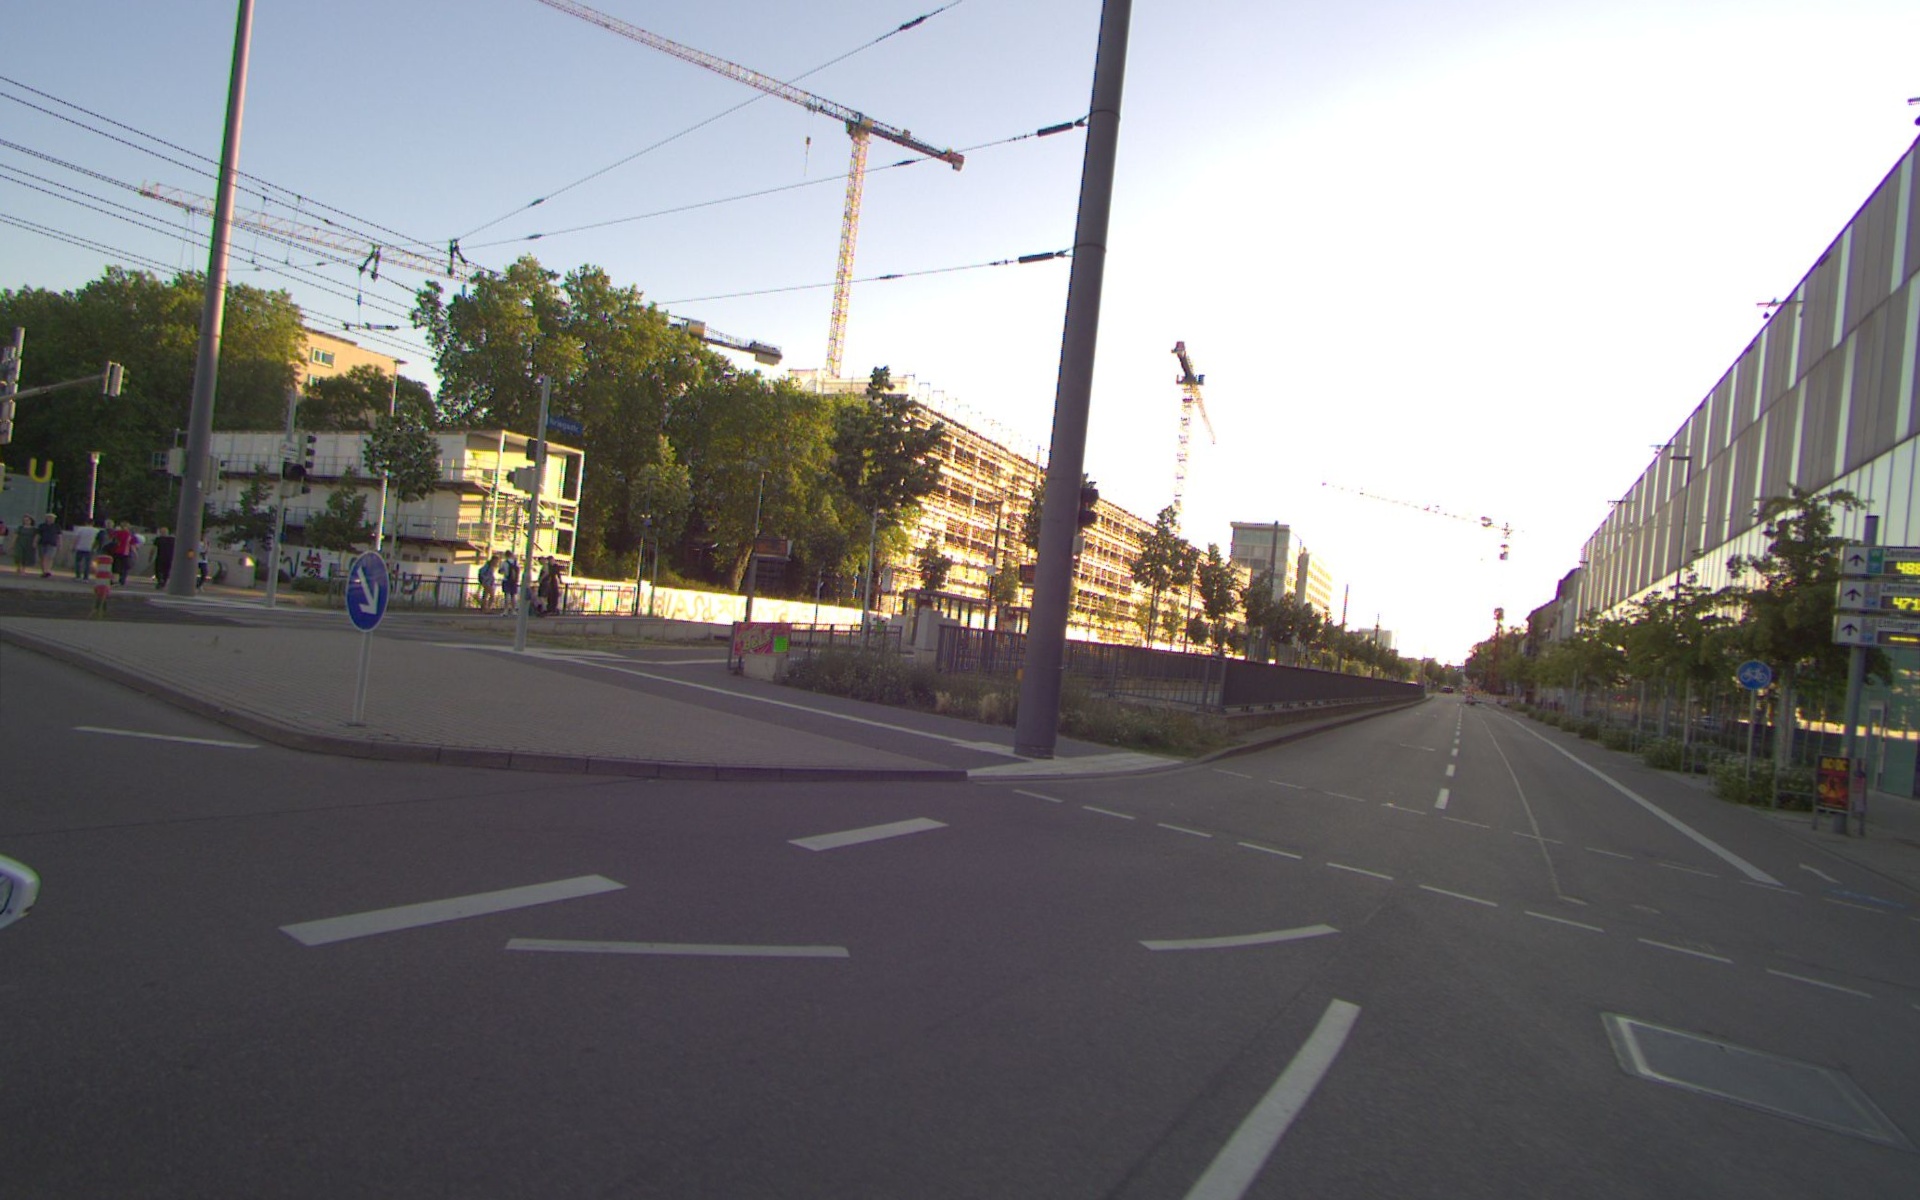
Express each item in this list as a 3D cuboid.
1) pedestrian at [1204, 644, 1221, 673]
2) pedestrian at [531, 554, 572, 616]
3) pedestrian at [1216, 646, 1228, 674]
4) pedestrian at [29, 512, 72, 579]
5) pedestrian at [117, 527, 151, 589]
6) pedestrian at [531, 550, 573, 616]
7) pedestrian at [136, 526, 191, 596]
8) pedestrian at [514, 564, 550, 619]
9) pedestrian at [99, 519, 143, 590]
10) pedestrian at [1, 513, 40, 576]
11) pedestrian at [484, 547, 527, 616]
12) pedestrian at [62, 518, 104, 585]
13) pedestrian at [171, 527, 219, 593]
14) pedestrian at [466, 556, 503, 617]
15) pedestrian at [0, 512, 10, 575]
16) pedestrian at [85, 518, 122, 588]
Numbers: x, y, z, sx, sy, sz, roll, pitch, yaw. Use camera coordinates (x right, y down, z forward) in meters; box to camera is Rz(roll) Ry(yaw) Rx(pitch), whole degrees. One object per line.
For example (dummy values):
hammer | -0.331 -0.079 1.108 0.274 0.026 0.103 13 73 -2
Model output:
pedestrian | 15.463 3.617 61.683 0.657 1.690 0.574 6 0 37
pedestrian | -12.259 -0.443 30.174 0.657 1.746 0.712 6 0 29
pedestrian | 15.961 3.644 61.215 0.396 1.690 0.448 6 0 37
pedestrian | -25.606 -1.527 28.337 0.676 1.779 0.893 7 0 -38
pedestrian | -23.916 -1.228 29.123 0.570 1.699 0.631 7 0 -45
pedestrian | -11.348 -0.468 27.966 0.659 1.746 0.709 6 0 43
pedestrian | -22.286 -1.090 28.161 0.786 1.813 0.807 6 0 28
pedestrian | -12.073 -0.242 28.376 0.672 1.458 0.707 6 0 -37
pedestrian | -22.220 -1.207 26.643 0.700 1.755 0.837 7 0 -43
pedestrian | -26.217 -1.549 28.081 0.557 1.675 0.893 7 0 -38
pedestrian | -12.260 -0.496 27.123 0.660 1.746 0.709 6 0 44
pedestrian | -24.323 -1.350 27.903 0.708 1.746 0.905 7 0 -40
pedestrian | -22.394 -1.170 29.468 0.789 1.813 0.804 6 0 39
pedestrian | -13.115 -0.368 27.761 0.527 1.612 0.571 6 0 31
pedestrian | -27.304 -1.629 28.282 0.708 1.746 0.660 7 0 -42
pedestrian | -23.351 -1.274 27.432 0.570 1.813 0.631 7 0 -45
